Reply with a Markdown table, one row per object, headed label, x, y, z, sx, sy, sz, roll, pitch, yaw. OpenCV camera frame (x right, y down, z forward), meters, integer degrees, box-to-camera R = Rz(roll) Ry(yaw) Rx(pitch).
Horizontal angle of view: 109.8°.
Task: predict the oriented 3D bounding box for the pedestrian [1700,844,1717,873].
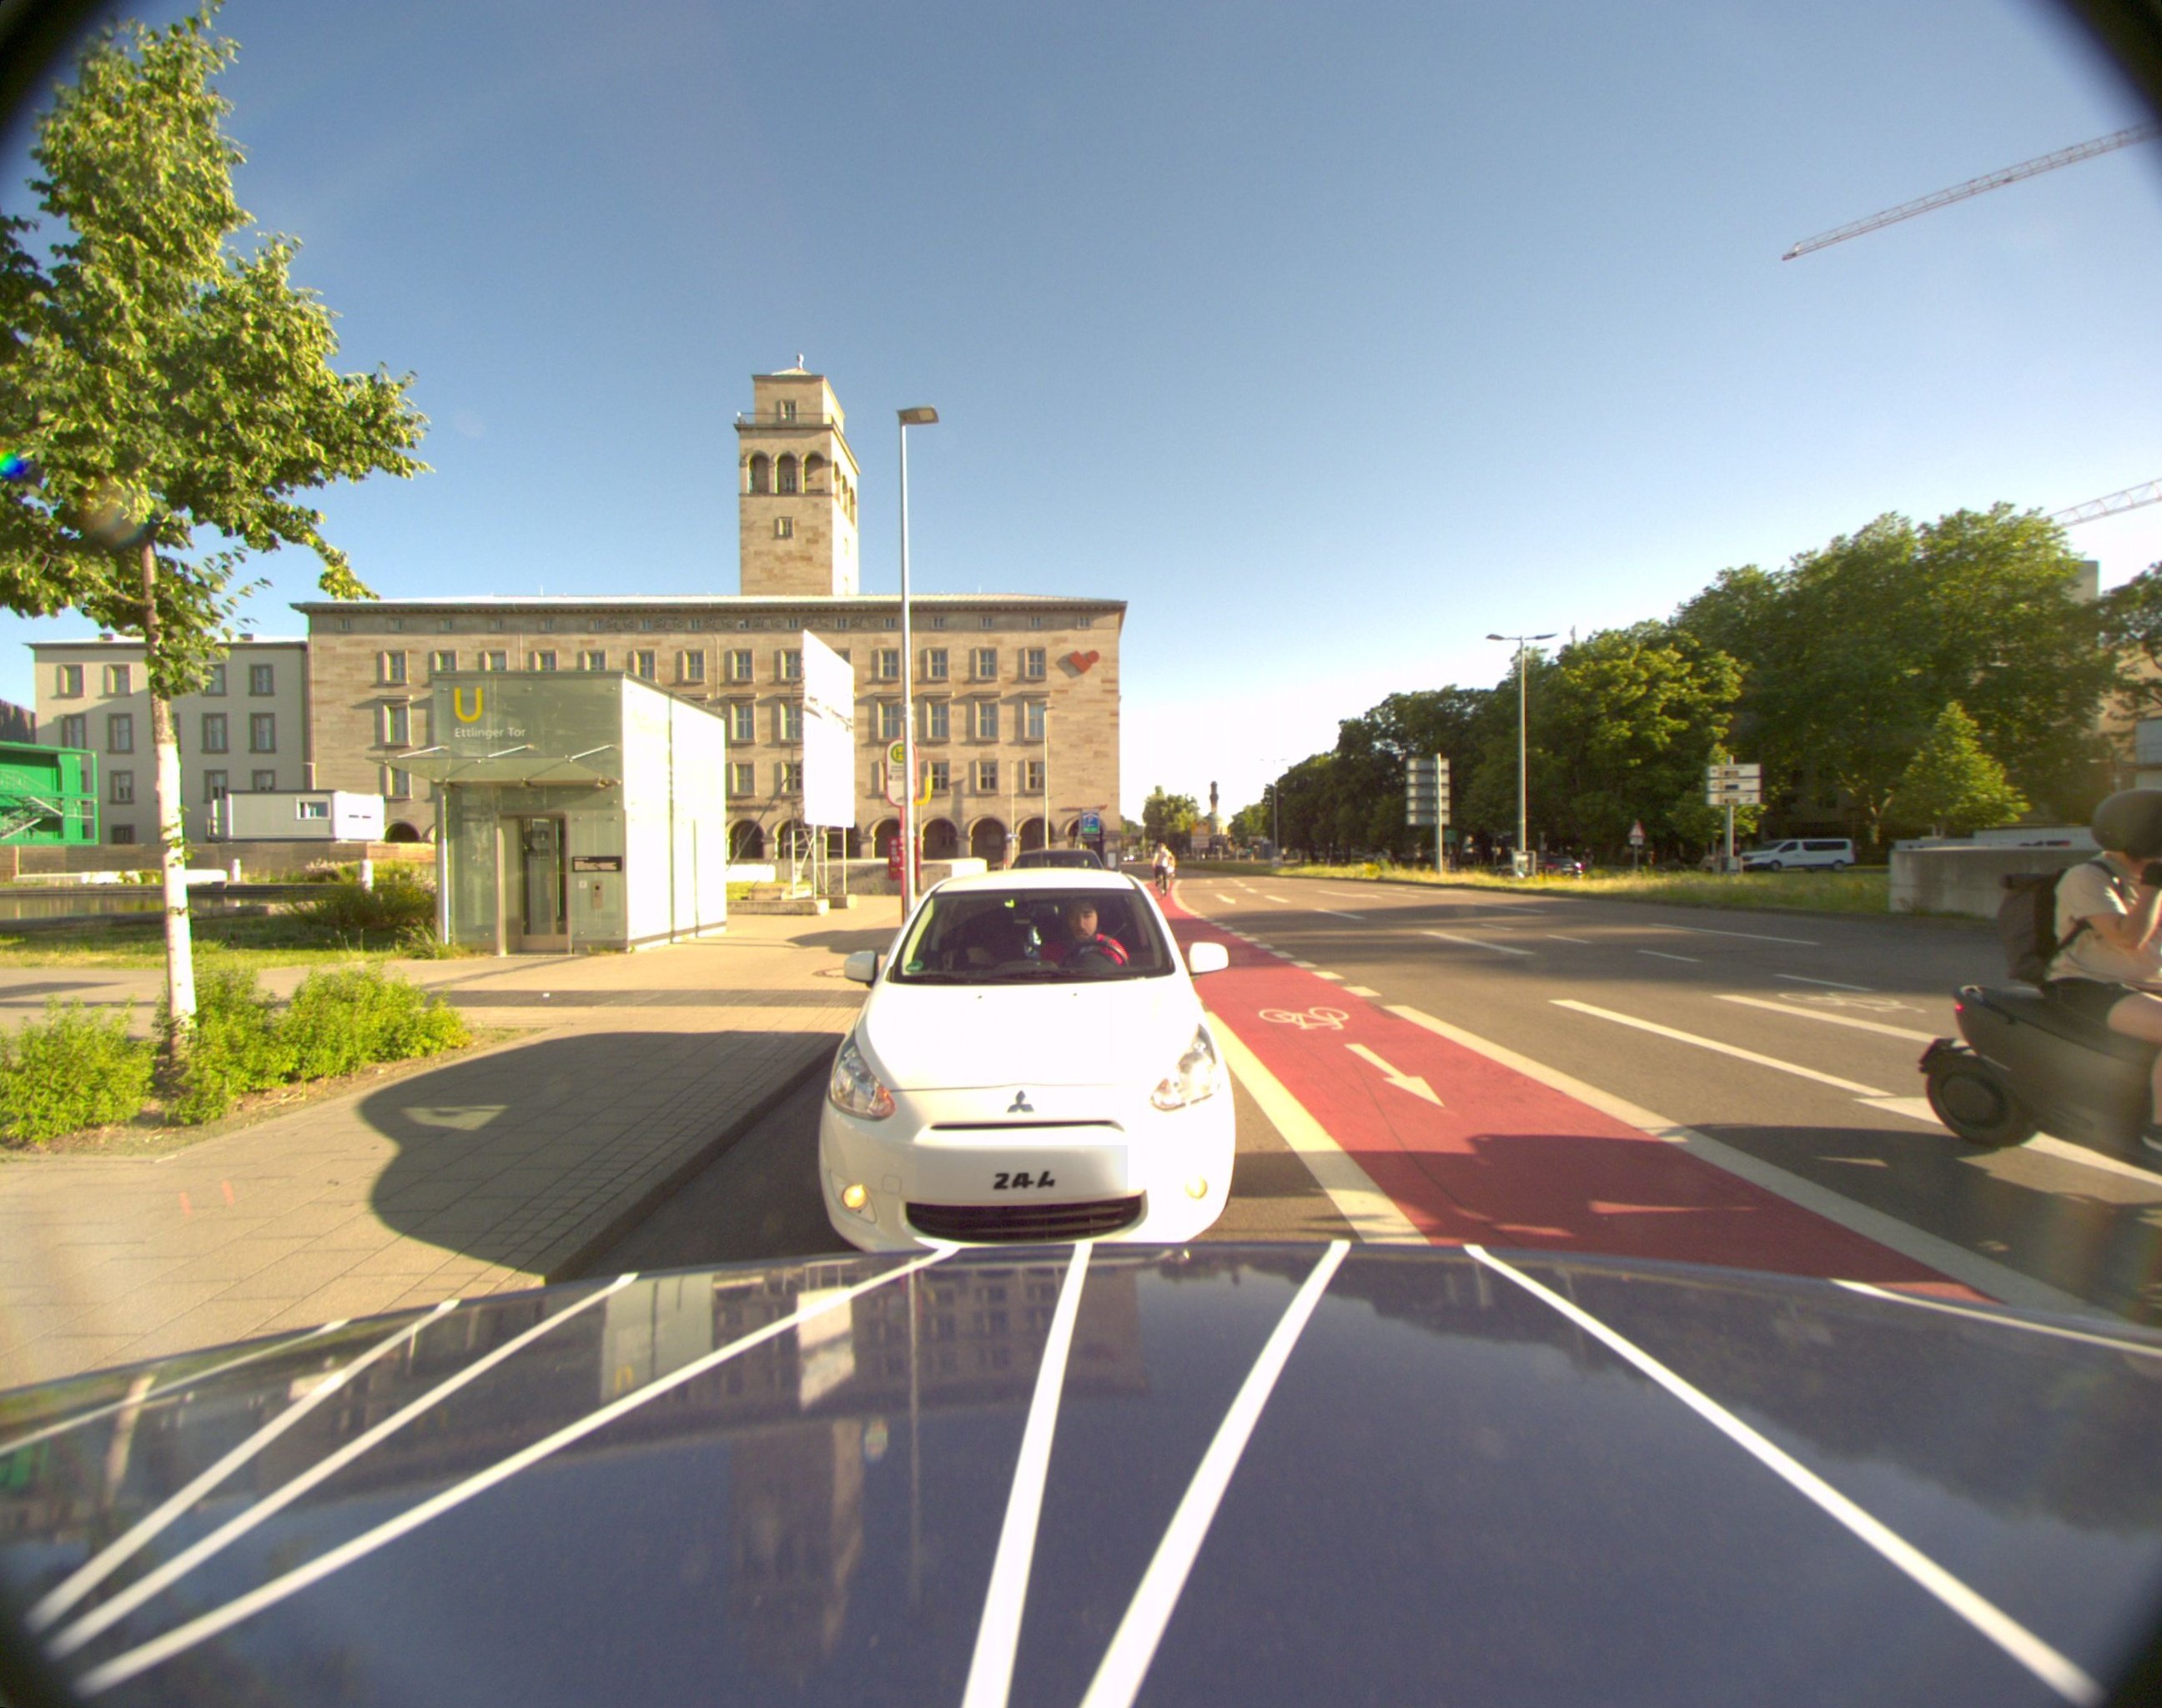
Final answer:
| label | x | y | z | sx | sy | sz | roll | pitch | yaw |
| --- | --- | --- | --- | --- | --- | --- | --- | --- | --- |
| pedestrian | 32.346 | 0.225 | 39.168 | 0.499 | 1.502 | 0.494 | -1 | 1 | 1 |

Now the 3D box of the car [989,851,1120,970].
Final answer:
| label | x | y | z | sx | sy | sz | roll | pitch | yaw |
| --- | --- | --- | --- | --- | --- | --- | --- | --- | --- |
| car | -0.349 | 0.794 | 12.777 | 1.833 | 1.660 | 4.000 | -1 | 0 | 1 |

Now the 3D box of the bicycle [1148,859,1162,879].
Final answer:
| label | x | y | z | sx | sy | sz | roll | pitch | yaw |
| --- | --- | --- | --- | --- | --- | --- | --- | --- | --- |
| bicycle | 4.581 | 0.918 | 46.988 | 0.689 | 1.185 | 1.506 | -1 | 1 | 1 |

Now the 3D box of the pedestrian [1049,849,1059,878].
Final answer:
| label | x | y | z | sx | sy | sz | roll | pitch | yaw |
| --- | --- | --- | --- | --- | --- | --- | --- | --- | --- |
| pedestrian | -1.615 | 0.560 | 45.230 | 0.552 | 1.692 | 0.553 | -1 | 1 | -1 |

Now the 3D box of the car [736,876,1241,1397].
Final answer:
| label | x | y | z | sx | sy | sz | roll | pitch | yaw |
| --- | --- | --- | --- | --- | --- | --- | --- | --- | --- |
| car | -0.254 | 0.926 | 4.313 | 1.519 | 1.447 | 4.000 | -1 | 0 | 1 |

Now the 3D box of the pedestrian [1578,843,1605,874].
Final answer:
| label | x | y | z | sx | sy | sz | roll | pitch | yaw |
| --- | --- | --- | --- | --- | --- | --- | --- | --- | --- |
| pedestrian | 33.014 | 0.297 | 49.144 | 1.126 | 1.952 | 0.815 | -2 | 1 | 1 |

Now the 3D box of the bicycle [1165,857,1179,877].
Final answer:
| label | x | y | z | sx | sy | sz | roll | pitch | yaw |
| --- | --- | --- | --- | --- | --- | --- | --- | --- | --- |
| bicycle | 5.628 | 0.804 | 46.844 | 0.689 | 1.185 | 1.506 | -1 | 1 | 1 |

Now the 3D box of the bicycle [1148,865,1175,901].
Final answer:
| label | x | y | z | sx | sy | sz | roll | pitch | yaw |
| --- | --- | --- | --- | --- | --- | --- | --- | --- | --- |
| bicycle | 2.724 | 0.964 | 25.789 | 0.741 | 1.140 | 1.890 | -1 | 0 | 1 |

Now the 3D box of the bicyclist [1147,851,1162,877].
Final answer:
| label | x | y | z | sx | sy | sz | roll | pitch | yaw |
| --- | --- | --- | --- | --- | --- | --- | --- | --- | --- |
| bicyclist | 4.579 | 0.605 | 47.157 | 0.823 | 1.568 | 0.877 | -1 | 1 | 1 |

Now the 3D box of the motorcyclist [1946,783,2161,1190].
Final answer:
| label | x | y | z | sx | sy | sz | roll | pitch | yaw |
| --- | --- | --- | --- | --- | --- | --- | --- | --- | --- |
| motorcyclist | 4.276 | 0.468 | 2.955 | 0.823 | 1.455 | 0.877 | -1 | 1 | 1 |

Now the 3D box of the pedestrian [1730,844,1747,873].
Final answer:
| label | x | y | z | sx | sy | sz | roll | pitch | yaw |
| --- | --- | --- | --- | --- | --- | --- | --- | --- | --- |
| pedestrian | 33.981 | 0.226 | 39.273 | 0.499 | 1.502 | 0.494 | -1 | 1 | 1 |

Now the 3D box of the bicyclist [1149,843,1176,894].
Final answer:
| label | x | y | z | sx | sy | sz | roll | pitch | yaw |
| --- | --- | --- | --- | --- | --- | --- | --- | --- | --- |
| bicyclist | 2.735 | 0.473 | 25.620 | 0.807 | 1.690 | 0.852 | -1 | 1 | 1 |

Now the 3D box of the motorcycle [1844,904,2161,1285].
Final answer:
| label | x | y | z | sx | sy | sz | roll | pitch | yaw |
| --- | --- | --- | --- | --- | --- | --- | --- | --- | --- |
| motorcycle | 4.273 | 0.898 | 2.880 | 0.828 | 1.273 | 1.944 | -1 | 0 | 1 |

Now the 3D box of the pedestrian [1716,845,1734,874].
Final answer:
| label | x | y | z | sx | sy | sz | roll | pitch | yaw |
| --- | --- | --- | --- | --- | --- | --- | --- | --- | --- |
| pedestrian | 33.181 | 0.278 | 39.137 | 0.499 | 1.502 | 0.494 | -1 | 1 | 1 |

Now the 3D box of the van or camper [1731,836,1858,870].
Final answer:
| label | x | y | z | sx | sy | sz | roll | pitch | yaw |
| --- | --- | --- | --- | --- | --- | --- | --- | --- | --- |
| van or camper | 42.240 | -0.050 | 45.067 | 5.499 | 1.934 | 1.951 | -1 | 0 | 4 |

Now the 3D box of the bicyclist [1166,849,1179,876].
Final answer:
| label | x | y | z | sx | sy | sz | roll | pitch | yaw |
| --- | --- | --- | --- | --- | --- | --- | --- | --- | --- |
| bicyclist | 5.635 | 0.533 | 46.905 | 0.674 | 1.649 | 0.877 | -1 | 1 | 1 |

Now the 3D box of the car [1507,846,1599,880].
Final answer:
| label | x | y | z | sx | sy | sz | roll | pitch | yaw |
| --- | --- | --- | --- | --- | --- | --- | --- | --- | --- |
| car | 21.955 | 0.391 | 35.546 | 1.881 | 1.472 | 3.980 | -1 | 0 | 1 |

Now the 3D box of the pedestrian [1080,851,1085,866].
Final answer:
| label | x | y | z | sx | sy | sz | roll | pitch | yaw |
| --- | --- | --- | --- | --- | --- | --- | --- | --- | --- |
| pedestrian | 0.144 | 0.615 | 105.016 | 0.612 | 2.002 | 0.727 | -2 | 1 | 0 |

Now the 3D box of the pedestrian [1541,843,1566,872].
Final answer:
| label | x | y | z | sx | sy | sz | roll | pitch | yaw |
| --- | --- | --- | --- | --- | --- | --- | --- | --- | --- |
| pedestrian | 32.703 | 0.250 | 52.613 | 0.951 | 1.952 | 1.058 | -2 | 1 | -14 |
